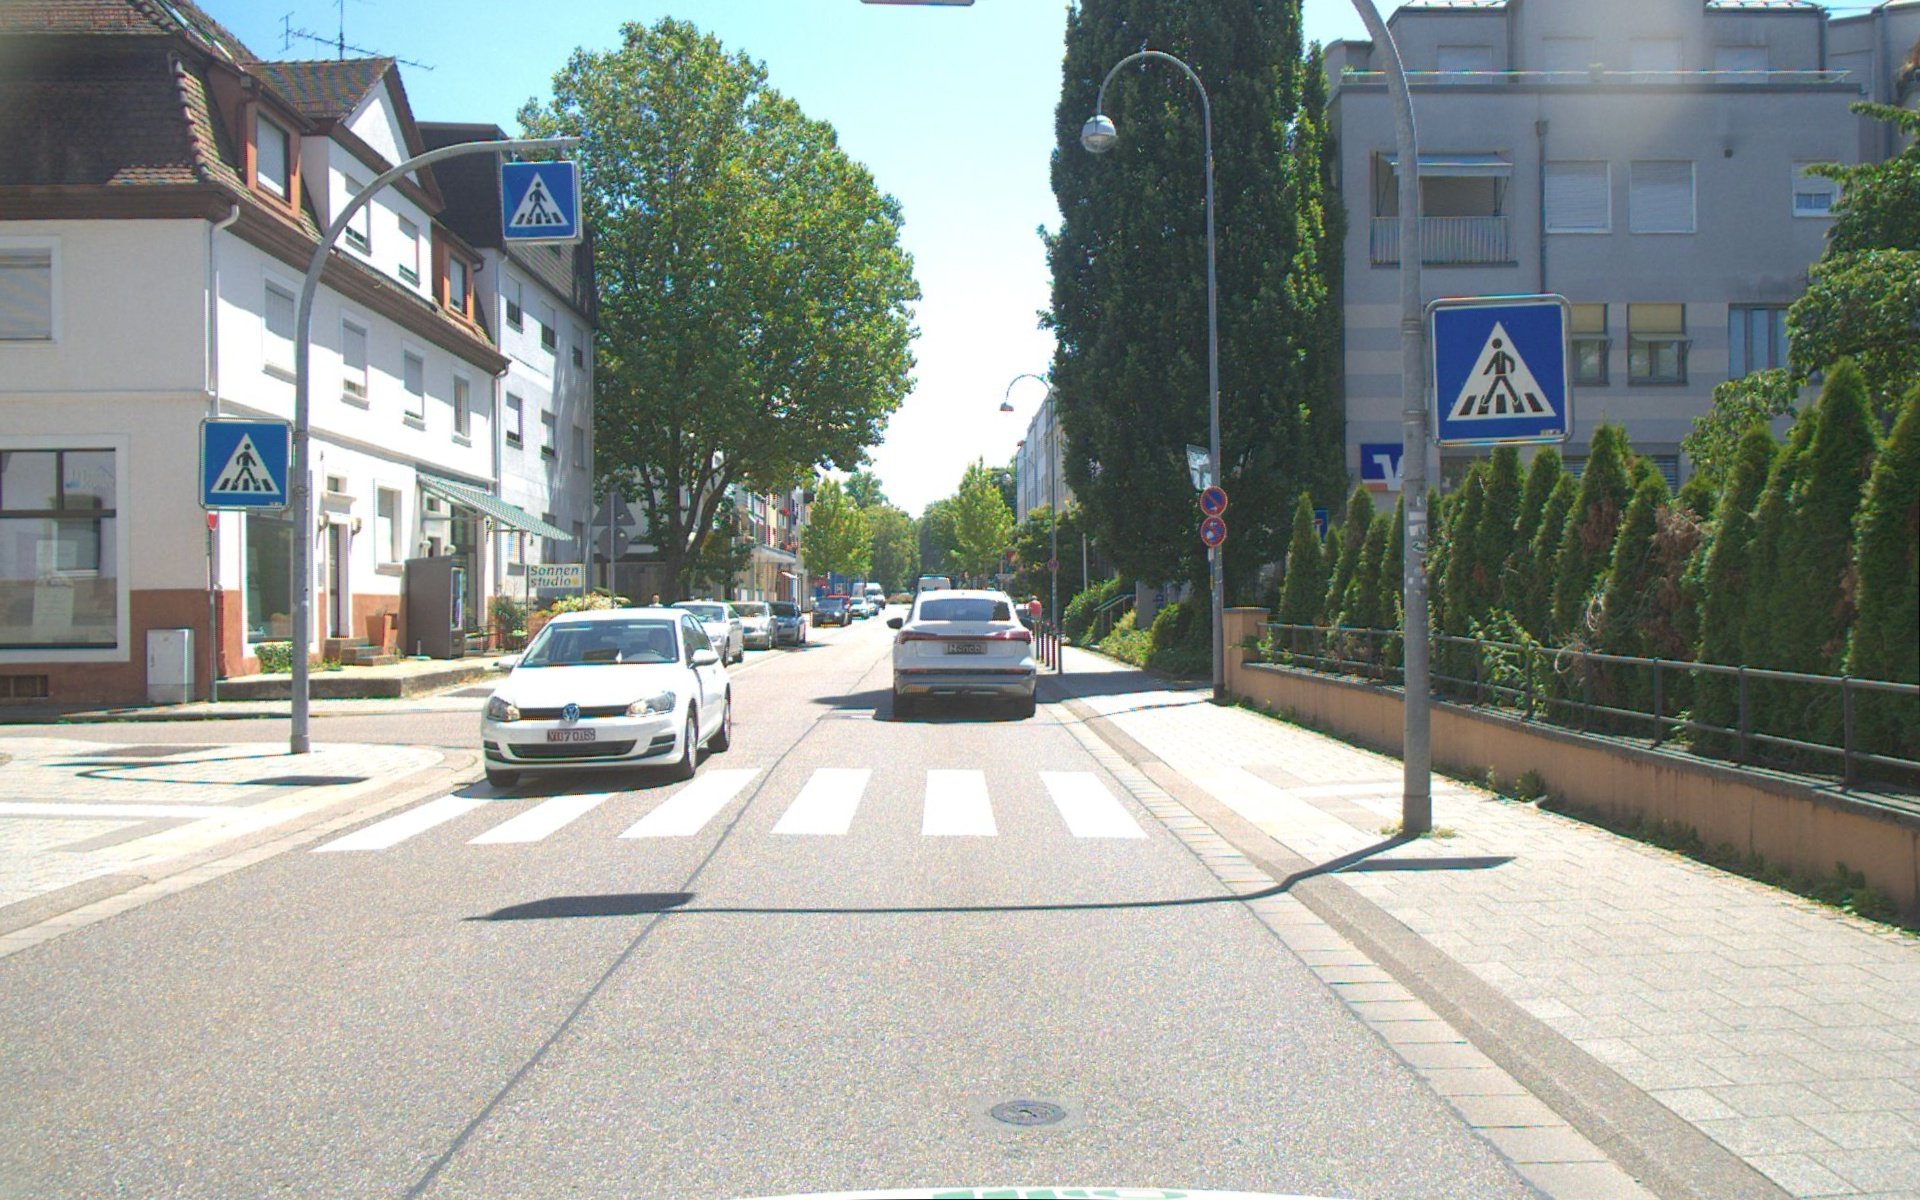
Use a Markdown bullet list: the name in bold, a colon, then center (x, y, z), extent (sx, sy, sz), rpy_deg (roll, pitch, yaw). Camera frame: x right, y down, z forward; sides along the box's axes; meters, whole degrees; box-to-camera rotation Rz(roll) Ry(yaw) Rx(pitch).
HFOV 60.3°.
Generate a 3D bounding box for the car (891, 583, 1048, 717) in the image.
- **car**: center (0.054, 0.623, 22.714), extent (1.953, 1.661, 3.998), rpy_deg (1, 0, -2)

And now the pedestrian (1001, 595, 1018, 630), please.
- **pedestrian**: center (2.421, 0.602, 81.074), extent (0.686, 1.655, 0.783), rpy_deg (-3, 0, -2)

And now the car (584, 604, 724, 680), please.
- **car**: center (-6.085, 0.794, 33.493), extent (1.902, 1.397, 5.097), rpy_deg (0, 0, 0)

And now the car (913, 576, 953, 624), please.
- **car**: center (-1.459, 0.019, 91.151), extent (2.112, 2.484, 5.282), rpy_deg (1, 0, -1)

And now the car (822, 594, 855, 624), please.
- **car**: center (-7.208, 0.526, 98.710), extent (1.717, 1.732, 4.100), rpy_deg (1, 0, -1)

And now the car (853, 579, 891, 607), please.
- **car**: center (-9.045, -0.639, 168.563), extent (2.005, 2.676, 7.070), rpy_deg (-2, 0, -18)

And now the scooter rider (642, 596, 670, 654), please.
- **scooter rider**: center (-8.678, 0.705, 47.229), extent (0.576, 1.603, 0.877), rpy_deg (2, 0, 0)

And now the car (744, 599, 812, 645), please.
- **car**: center (-6.244, 0.720, 57.179), extent (1.941, 1.477, 5.149), rpy_deg (0, 0, -2)

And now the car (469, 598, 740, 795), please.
- **car**: center (-3.113, 0.782, 15.237), extent (1.771, 1.508, 3.867), rpy_deg (-2, 0, -3)

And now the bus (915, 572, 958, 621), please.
- **bus**: center (-1.593, -0.213, 115.653), extent (2.606, 3.278, 7.302), rpy_deg (1, 0, 2)

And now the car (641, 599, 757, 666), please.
- **car**: center (-6.145, 0.732, 39.561), extent (1.940, 1.477, 5.357), rpy_deg (0, 0, 0)

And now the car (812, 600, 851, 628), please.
- **car**: center (-7.148, 0.756, 92.236), extent (1.858, 1.442, 5.046), rpy_deg (2, 0, -1)

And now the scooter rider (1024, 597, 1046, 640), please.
- **scooter rider**: center (2.818, 0.704, 61.990), extent (0.701, 1.576, 0.770), rpy_deg (-2, 0, -3)

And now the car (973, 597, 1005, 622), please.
- **car**: center (1.725, 0.537, 99.593), extent (1.857, 1.463, 4.544), rpy_deg (-1, 0, 1)

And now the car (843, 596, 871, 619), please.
- **car**: center (-7.569, 0.561, 122.015), extent (1.716, 1.646, 4.400), rpy_deg (1, 0, 0)

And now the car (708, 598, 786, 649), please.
- **car**: center (-6.539, 0.688, 51.278), extent (1.941, 1.477, 4.866), rpy_deg (0, 0, -2)
